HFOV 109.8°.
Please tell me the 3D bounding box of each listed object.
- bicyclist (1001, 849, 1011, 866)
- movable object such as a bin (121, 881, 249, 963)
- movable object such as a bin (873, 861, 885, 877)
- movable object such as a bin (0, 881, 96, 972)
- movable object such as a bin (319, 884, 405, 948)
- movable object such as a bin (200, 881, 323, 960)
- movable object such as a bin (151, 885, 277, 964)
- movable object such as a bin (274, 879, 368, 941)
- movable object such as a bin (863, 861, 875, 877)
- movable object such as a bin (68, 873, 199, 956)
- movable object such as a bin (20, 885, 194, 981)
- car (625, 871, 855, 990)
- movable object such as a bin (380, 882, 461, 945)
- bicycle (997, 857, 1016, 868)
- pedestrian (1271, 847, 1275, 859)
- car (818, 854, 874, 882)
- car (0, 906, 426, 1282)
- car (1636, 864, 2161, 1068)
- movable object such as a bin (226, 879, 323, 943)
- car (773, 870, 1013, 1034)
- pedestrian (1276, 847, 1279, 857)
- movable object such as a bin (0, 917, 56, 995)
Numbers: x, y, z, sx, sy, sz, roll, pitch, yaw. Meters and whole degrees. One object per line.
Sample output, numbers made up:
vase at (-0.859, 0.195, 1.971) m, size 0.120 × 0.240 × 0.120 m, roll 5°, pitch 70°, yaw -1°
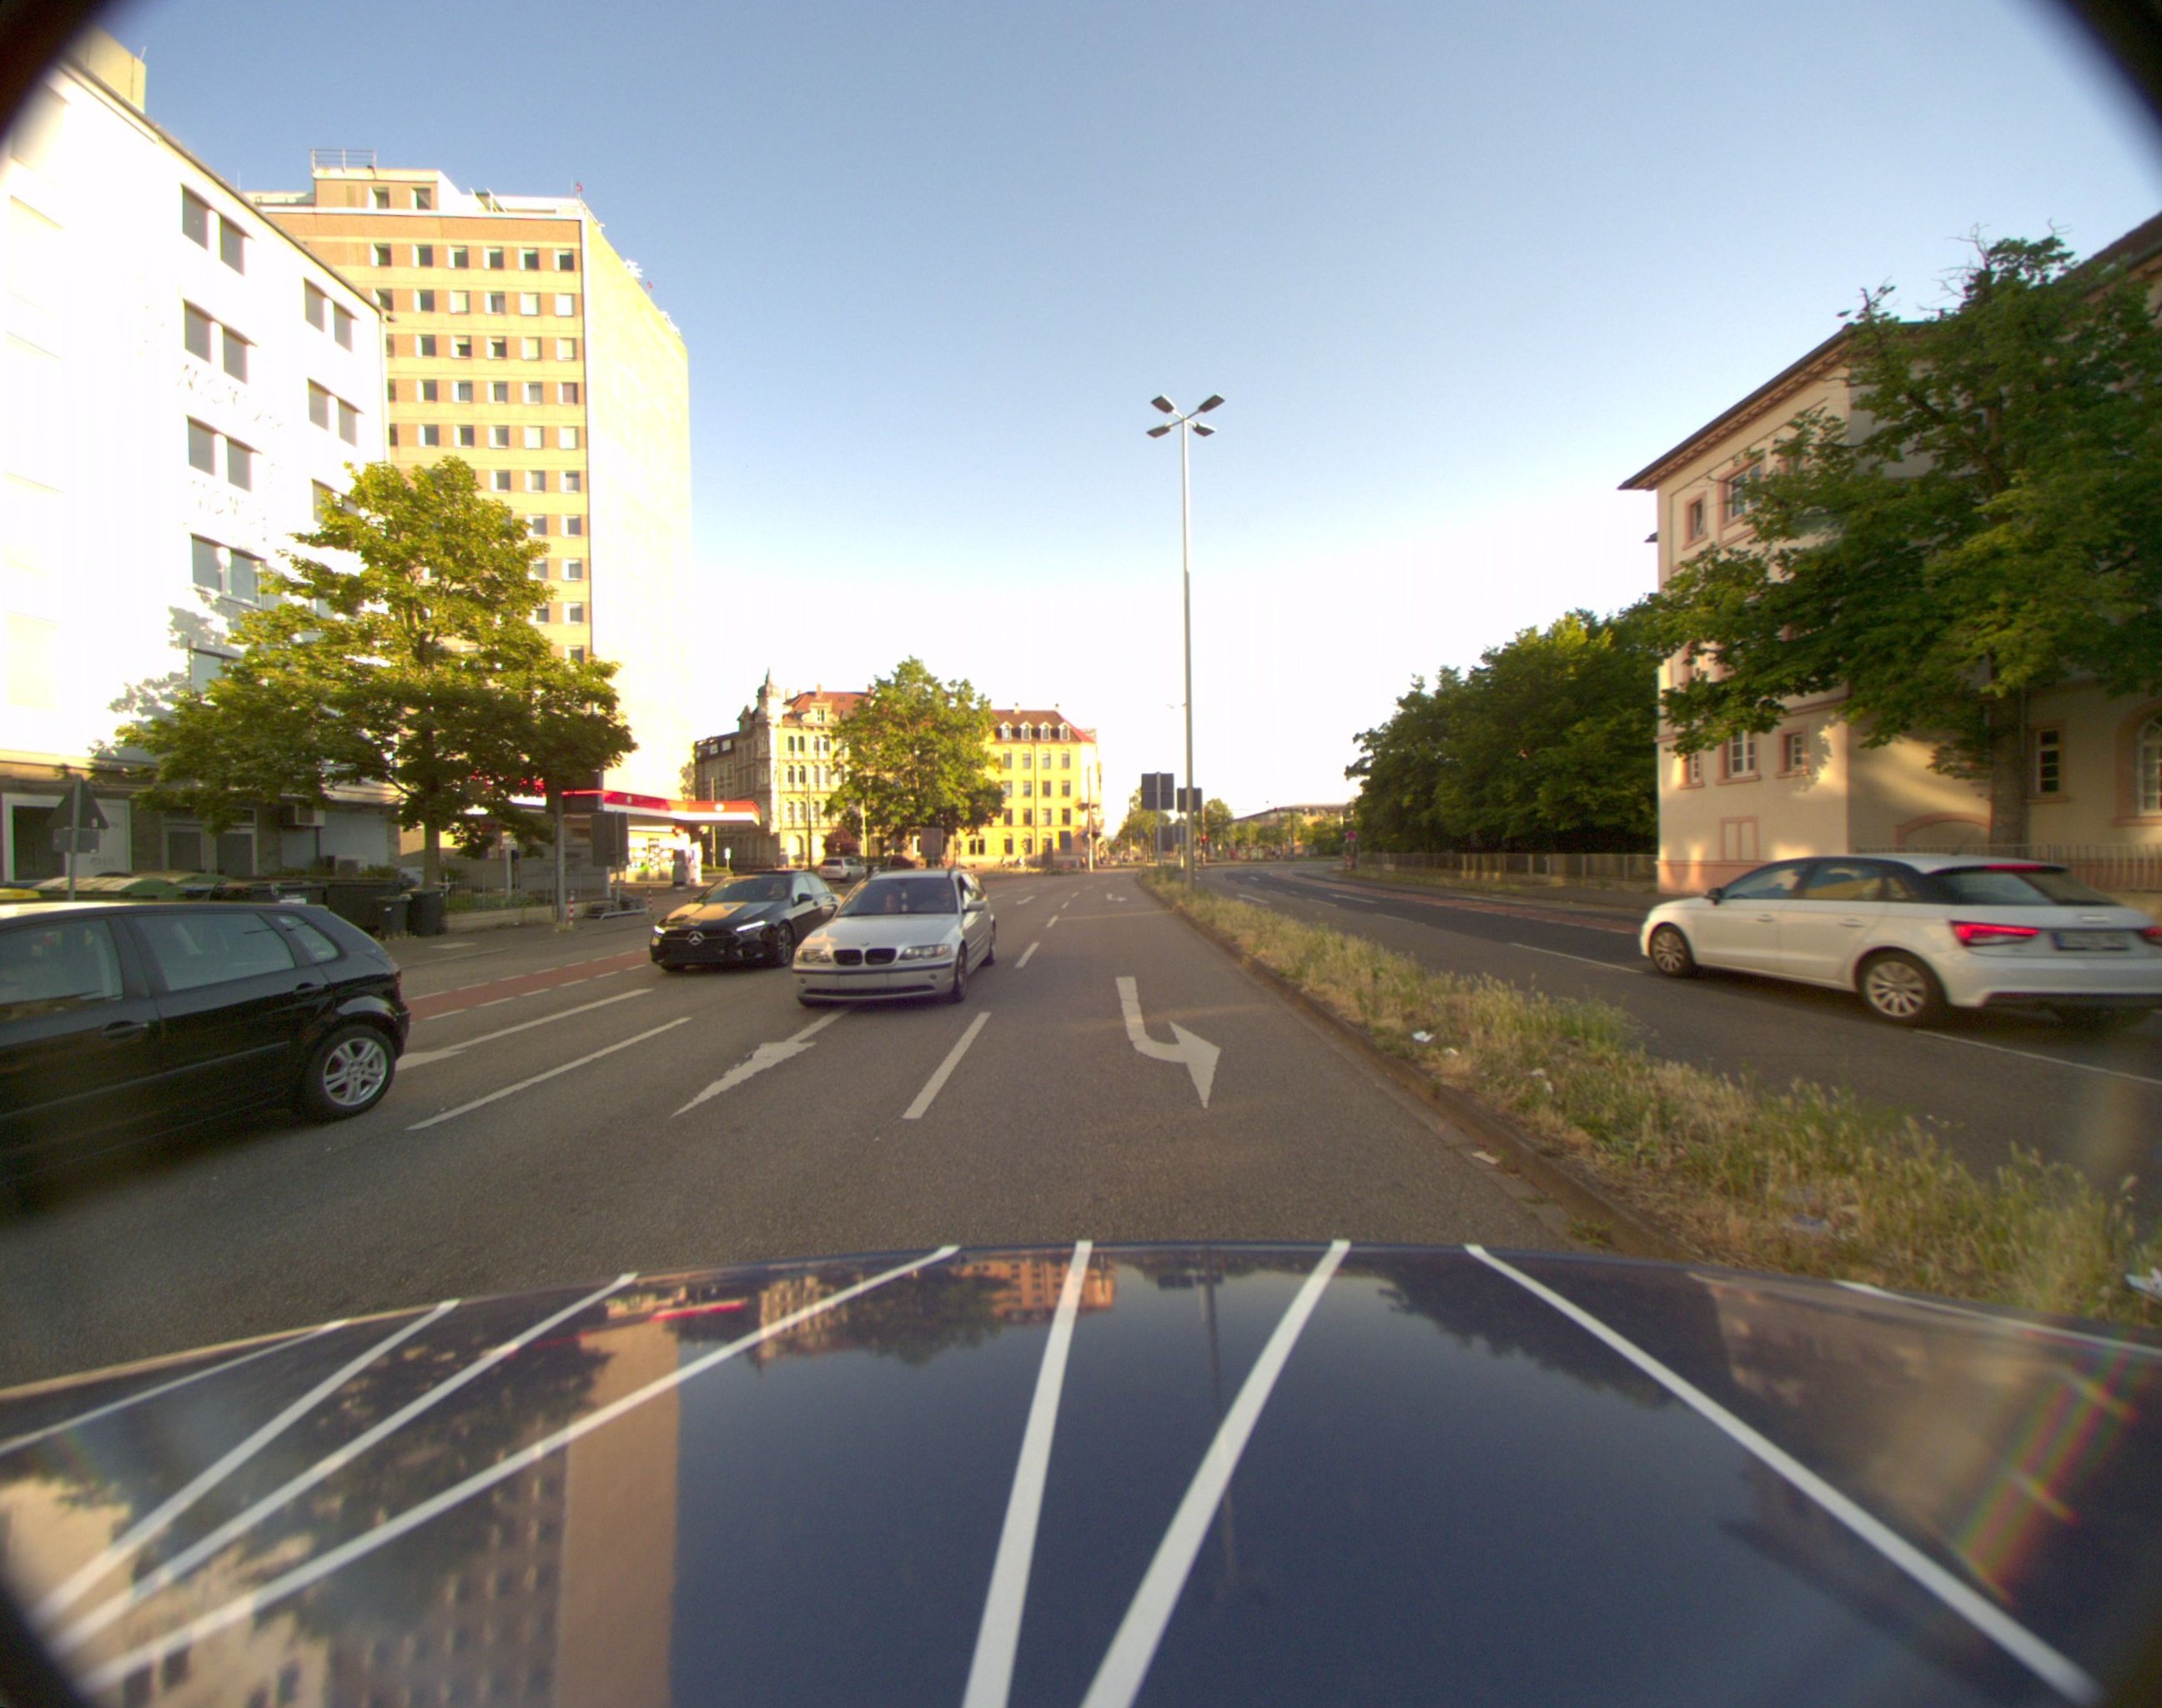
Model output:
bicyclist at (-7.685, 0.347, 77.903) m, size 1.065 × 1.639 × 0.732 m, roll -1°, pitch 1°, yaw -7°
movable object such as a bin at (-17.124, 1.271, 14.570) m, size 1.034 × 1.440 × 1.162 m, roll -1°, pitch 1°, yaw -2°
movable object such as a bin at (-13.151, 0.973, 49.561) m, size 0.544 × 1.013 × 0.688 m, roll -1°, pitch 1°, yaw 5°
movable object such as a bin at (-18.691, 1.256, 13.411) m, size 1.034 × 1.490 × 1.162 m, roll -1°, pitch 1°, yaw -2°
movable object such as a bin at (-15.831, 1.340, 16.758) m, size 0.956 × 1.320 × 0.953 m, roll -1°, pitch 1°, yaw -2°
movable object such as a bin at (-14.912, 1.178, 13.873) m, size 0.956 × 1.320 × 1.162 m, roll -1°, pitch 1°, yaw -2°
movable object such as a bin at (-16.041, 1.279, 14.101) m, size 0.956 × 1.320 × 1.162 m, roll -1°, pitch 1°, yaw -2°
movable object such as a bin at (-16.934, 1.231, 16.966) m, size 0.956 × 1.276 × 1.098 m, roll -1°, pitch 1°, yaw -2°
movable object such as a bin at (-13.871, 0.988, 49.771) m, size 0.544 × 1.013 × 0.688 m, roll -1°, pitch 1°, yaw 5°
movable object such as a bin at (-18.301, 1.133, 14.722) m, size 1.034 × 1.490 × 1.162 m, roll -1°, pitch 1°, yaw -2°
movable object such as a bin at (-15.901, 1.261, 12.459) m, size 1.351 × 1.415 × 1.105 m, roll -1°, pitch 1°, yaw -4°
car at (-5.188, 1.071, 12.233) m, size 1.731 × 1.441 × 4.046 m, roll -2°, pitch 0°, yaw 2°
movable object such as a bin at (-14.881, 1.326, 17.144) m, size 0.956 × 1.320 × 0.953 m, roll -1°, pitch 1°, yaw -2°
bicycle at (-7.666, 0.876, 77.868) m, size 1.927 × 1.053 × 0.451 m, roll -1°, pitch 1°, yaw -7°
pedestrian at (32.763, -0.186, 129.729) m, size 0.556 × 2.002 × 0.664 m, roll -1°, pitch 1°, yaw 1°
car at (-13.957, 0.818, 45.282) m, size 1.688 × 1.508 × 3.798 m, roll -1°, pitch 1°, yaw 8°
car at (-5.385, 1.115, 3.330) m, size 1.584 × 1.441 × 3.872 m, roll -2°, pitch 0°, yaw 1°
car at (7.459, 0.822, 7.235) m, size 1.695 × 1.379 × 3.686 m, roll 0°, pitch 0°, yaw 1°
movable object such as a bin at (-17.931, 1.244, 16.922) m, size 0.956 × 1.320 × 1.098 m, roll -1°, pitch 1°, yaw -2°
car at (-2.011, 0.993, 9.504) m, size 1.674 × 1.410 × 4.441 m, roll -2°, pitch 0°, yaw 2°
pedestrian at (33.459, -0.311, 129.281) m, size 0.467 × 1.695 × 0.419 m, roll -1°, pitch 1°, yaw 1°
movable object such as a bin at (-15.515, 1.457, 10.753) m, size 0.853 × 1.039 × 0.819 m, roll -1°, pitch 1°, yaw -4°
